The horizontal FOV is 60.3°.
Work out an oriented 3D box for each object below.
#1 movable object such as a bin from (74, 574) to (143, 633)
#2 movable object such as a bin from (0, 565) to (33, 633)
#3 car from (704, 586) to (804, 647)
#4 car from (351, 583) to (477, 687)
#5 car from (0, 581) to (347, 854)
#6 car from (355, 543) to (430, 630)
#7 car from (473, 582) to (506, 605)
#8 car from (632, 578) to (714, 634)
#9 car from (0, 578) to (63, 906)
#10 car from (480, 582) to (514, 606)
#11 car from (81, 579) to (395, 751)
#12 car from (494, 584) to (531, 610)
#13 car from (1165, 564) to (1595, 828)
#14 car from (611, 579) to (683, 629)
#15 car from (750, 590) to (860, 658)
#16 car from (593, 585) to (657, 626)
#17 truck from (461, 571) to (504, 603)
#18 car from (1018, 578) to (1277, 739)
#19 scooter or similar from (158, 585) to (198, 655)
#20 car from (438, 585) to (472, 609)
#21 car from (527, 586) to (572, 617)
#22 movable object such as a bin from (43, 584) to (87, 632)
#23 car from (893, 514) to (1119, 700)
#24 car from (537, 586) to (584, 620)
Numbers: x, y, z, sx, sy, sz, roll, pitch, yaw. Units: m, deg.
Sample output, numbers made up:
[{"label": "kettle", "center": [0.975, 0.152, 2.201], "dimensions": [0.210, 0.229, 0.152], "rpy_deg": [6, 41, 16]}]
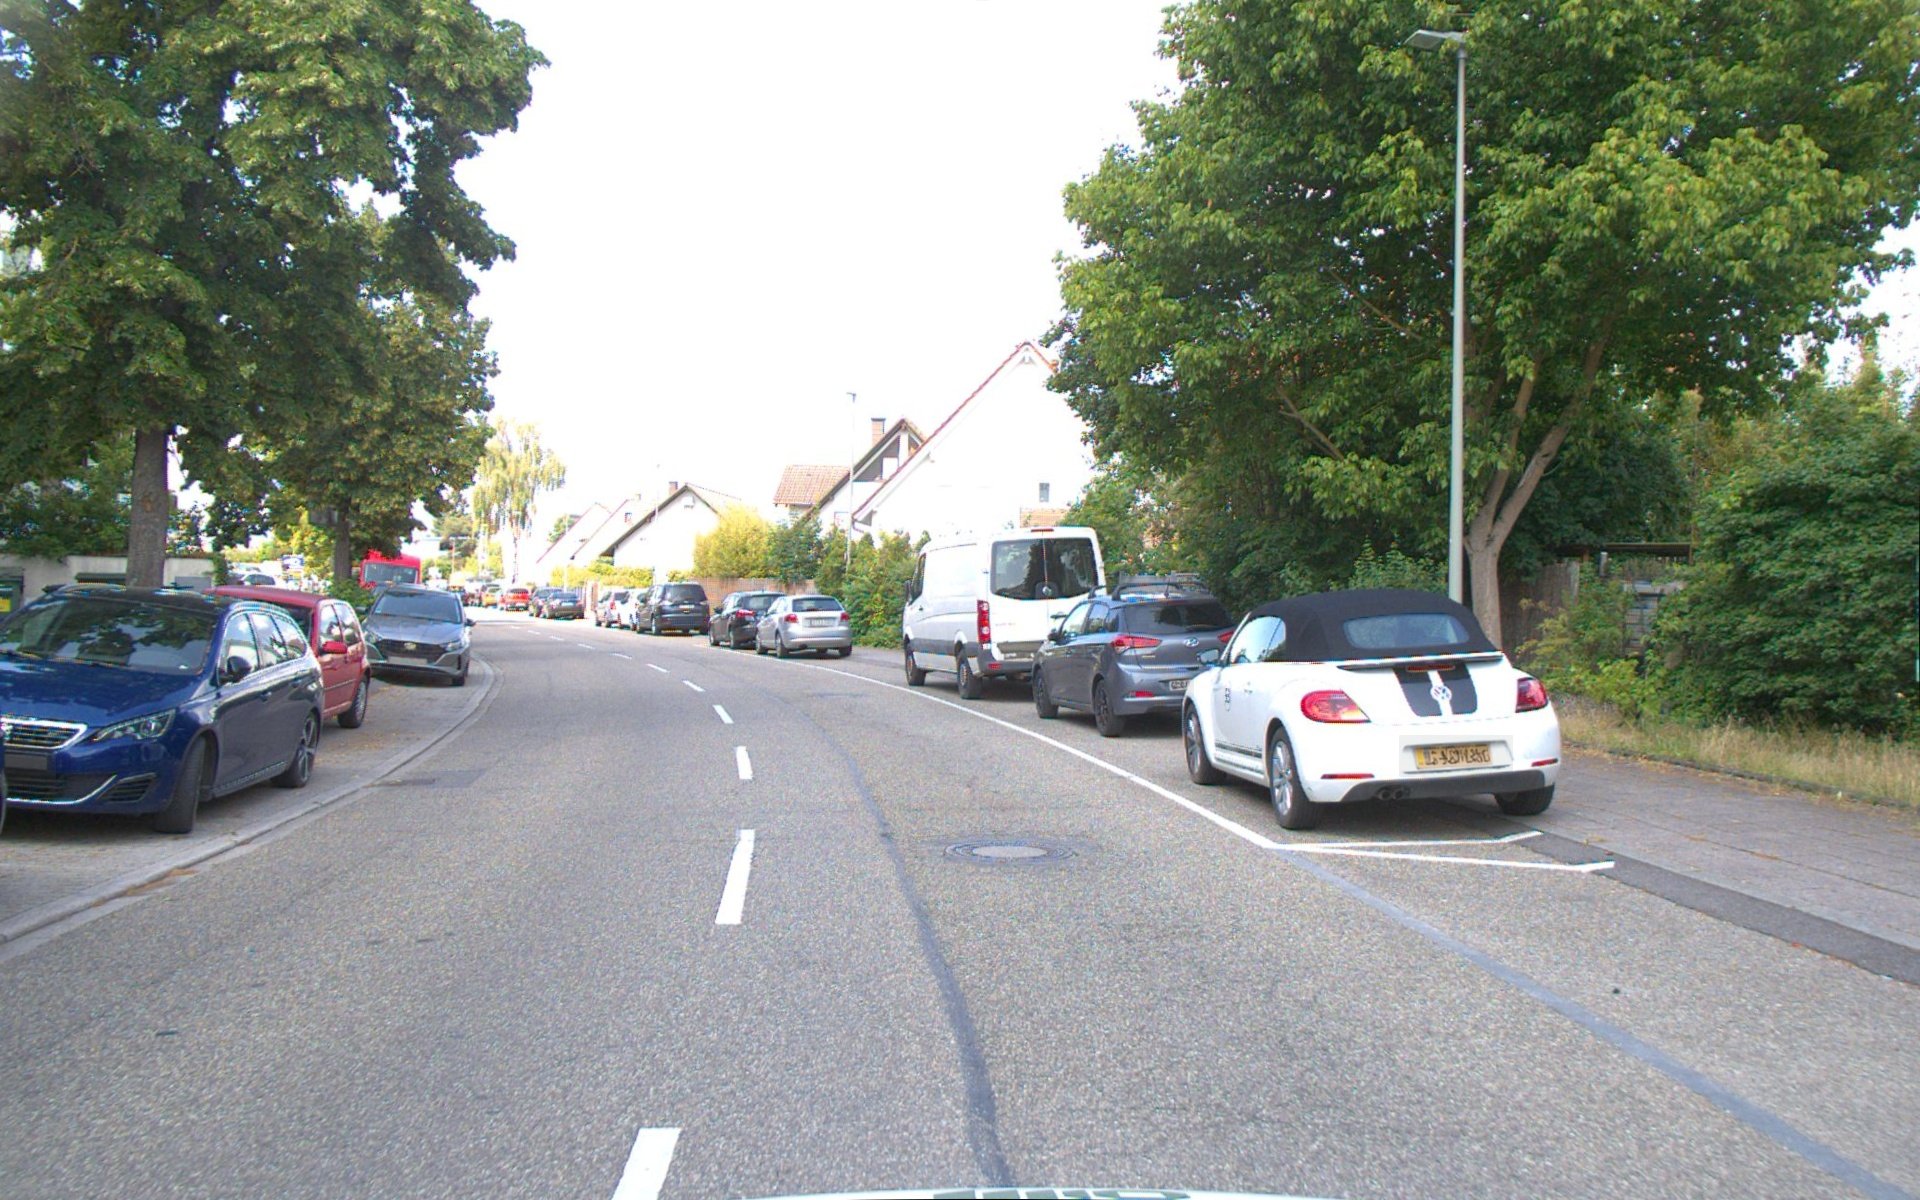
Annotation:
[{"label": "movable object such as a bin", "center": [-19.716, 0.070, 38.320], "dimensions": [1.170, 1.296, 0.877], "rpy_deg": [1, 4, -9]}, {"label": "movable object such as a bin", "center": [-21.775, -0.034, 37.431], "dimensions": [1.178, 1.462, 1.364], "rpy_deg": [0, 4, -21]}, {"label": "car", "center": [-5.612, 0.407, 44.657], "dimensions": [1.711, 1.535, 4.450], "rpy_deg": [1, 0, -20]}, {"label": "car", "center": [-9.022, 0.526, 27.612], "dimensions": [1.732, 1.515, 4.325], "rpy_deg": [3, 0, -16]}, {"label": "car", "center": [-5.770, 0.673, 11.617], "dimensions": [1.727, 1.515, 4.562], "rpy_deg": [3, -1, -8]}, {"label": "car", "center": [-18.786, -0.460, 54.782], "dimensions": [2.033, 2.544, 5.808], "rpy_deg": [5, -1, -19]}, {"label": "car", "center": [-33.357, -0.446, 117.217], "dimensions": [1.769, 1.550, 4.503], "rpy_deg": [1, 0, -21]}, {"label": "car", "center": [-9.708, 0.167, 55.661], "dimensions": [1.770, 1.779, 4.553], "rpy_deg": [1, 0, -22]}, {"label": "car", "center": [-5.121, 0.631, 6.079], "dimensions": [1.726, 1.515, 4.027], "rpy_deg": [3, 0, -6]}, {"label": "car", "center": [-31.636, -0.410, 112.898], "dimensions": [1.769, 1.550, 4.503], "rpy_deg": [1, 0, -21]}, {"label": "car", "center": [-7.271, 0.594, 17.119], "dimensions": [1.802, 1.463, 4.085], "rpy_deg": [4, 0, -7]}, {"label": "car", "center": [-28.079, -0.227, 103.746], "dimensions": [1.769, 1.550, 4.503], "rpy_deg": [1, 0, -21]}, {"label": "car", "center": [2.787, 0.564, 12.064], "dimensions": [1.706, 1.539, 4.455], "rpy_deg": [1, 0, -4]}, {"label": "car", "center": [-11.684, 0.133, 61.571], "dimensions": [1.771, 1.779, 3.945], "rpy_deg": [1, 0, -23]}, {"label": "car", "center": [-3.758, 0.534, 39.454], "dimensions": [1.710, 1.483, 4.343], "rpy_deg": [1, 0, -18]}, {"label": "car", "center": [-13.365, 0.194, 65.834], "dimensions": [1.770, 1.550, 3.946], "rpy_deg": [1, 0, -22]}, {"label": "truck", "center": [-36.805, -1.004, 127.365], "dimensions": [2.532, 2.300, 6.493], "rpy_deg": [1, 0, -21]}, {"label": "car", "center": [1.994, 0.588, 18.842], "dimensions": [1.687, 1.613, 4.111], "rpy_deg": [1, 0, -12]}, {"label": "scooter or similar", "center": [-13.822, 0.340, 29.245], "dimensions": [0.412, 1.186, 1.135], "rpy_deg": [3, 0, -16]}, {"label": "car", "center": [-34.668, -0.231, 113.458], "dimensions": [1.770, 1.550, 4.501], "rpy_deg": [1, 0, -22]}, {"label": "car", "center": [-21.426, 0.059, 86.231], "dimensions": [1.769, 1.550, 3.948], "rpy_deg": [1, 0, -21]}, {"label": "movable object such as a bin", "center": [-20.643, 0.186, 38.164], "dimensions": [0.613, 1.042, 0.877], "rpy_deg": [1, 4, -9]}, {"label": "car", "center": [0.528, 0.084, 25.395], "dimensions": [2.080, 2.483, 5.876], "rpy_deg": [1, 0, -12]}, {"label": "car", "center": [-19.811, 0.132, 81.918], "dimensions": [1.769, 1.550, 3.948], "rpy_deg": [1, 0, -21]}]
